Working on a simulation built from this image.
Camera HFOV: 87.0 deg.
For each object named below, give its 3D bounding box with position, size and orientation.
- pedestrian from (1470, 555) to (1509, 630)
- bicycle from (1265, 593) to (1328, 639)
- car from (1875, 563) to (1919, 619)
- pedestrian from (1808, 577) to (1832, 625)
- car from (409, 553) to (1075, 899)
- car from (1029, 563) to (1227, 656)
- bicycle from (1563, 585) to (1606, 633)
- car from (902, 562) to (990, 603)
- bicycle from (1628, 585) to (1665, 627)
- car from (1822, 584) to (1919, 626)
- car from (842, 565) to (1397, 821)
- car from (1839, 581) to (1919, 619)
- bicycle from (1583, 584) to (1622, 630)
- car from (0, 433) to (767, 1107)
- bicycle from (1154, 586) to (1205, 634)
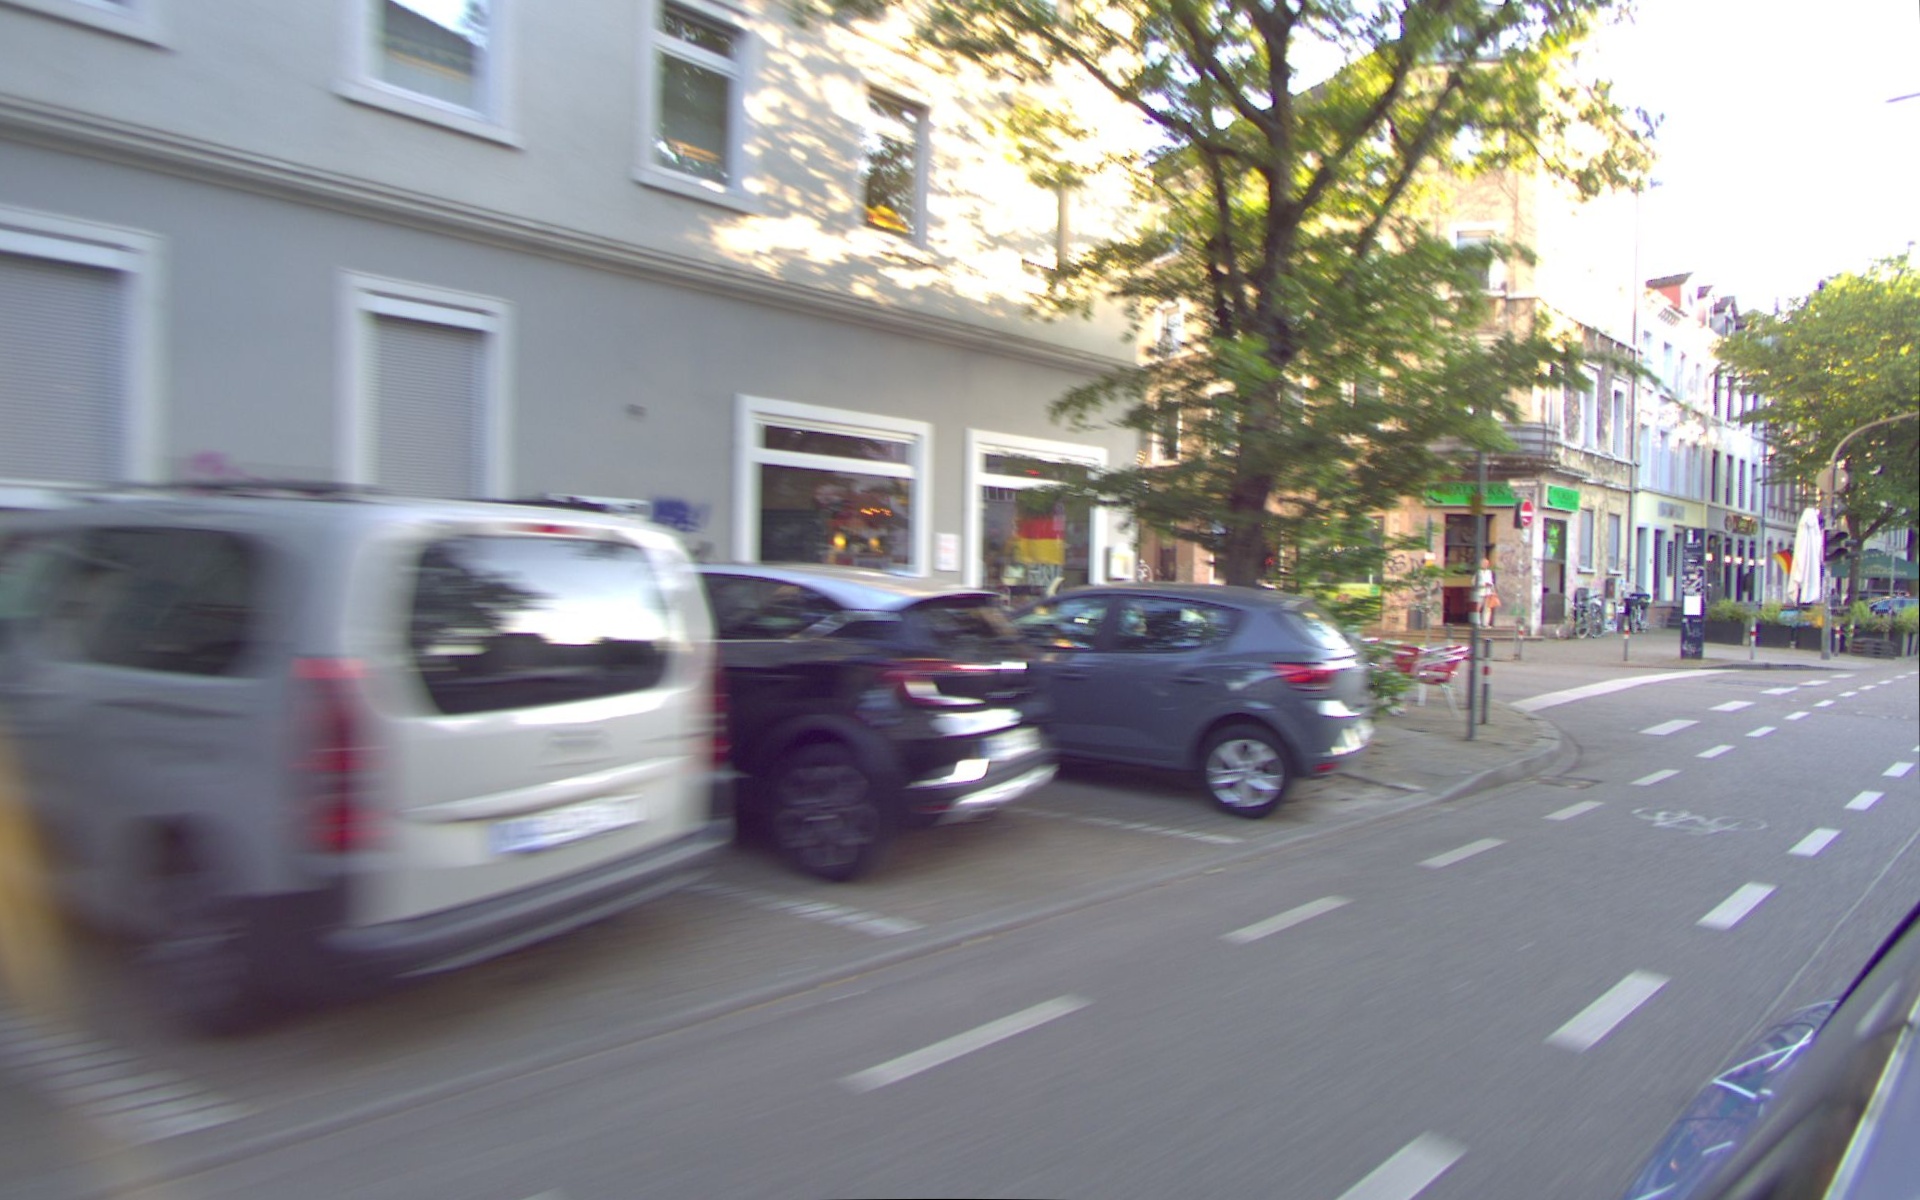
[{"bbox_3d":[13.516,-0.184,25.840,0.600,1.855,0.561,3,0,-4],"label":"pedestrian"},{"bbox_3d":[8.612,0.425,25.846,1.855,1.114,0.659,2,-1,-41],"label":"bicycle"},{"bbox_3d":[47.617,-0.381,48.531,5.197,2.653,1.905,3,2,34],"label":"car"},{"bbox_3d":[32.753,0.030,38.530,0.633,1.774,0.499,0,2,-36],"label":"pedestrian"},{"bbox_3d":[-1.439,0.529,6.353,3.964,1.586,1.703,1,1,29],"label":"car"},{"bbox_3d":[3.622,0.164,22.557,1.870,1.864,4.336,0,1,-35],"label":"car"},{"bbox_3d":[16.269,0.220,26.357,1.558,1.225,0.524,0,1,-41],"label":"bicycle"},{"bbox_3d":[-0.581,-0.690,39.356,1.630,1.462,3.676,3,-1,-35],"label":"car"},{"bbox_3d":[20.775,0.175,30.620,1.752,1.225,0.470,0,1,-41],"label":"bicycle"},{"bbox_3d":[37.395,0.245,40.035,4.586,1.536,1.796,3,1,24],"label":"car"},{"bbox_3d":[1.182,0.523,7.971,3.967,1.559,1.760,1,1,31],"label":"car"},{"bbox_3d":[39.716,0.053,42.394,4.093,1.470,1.788,3,1,35],"label":"car"},{"bbox_3d":[17.631,0.185,27.767,1.558,1.225,0.470,0,1,-41],"label":"bicycle"},{"bbox_3d":[-3.008,0.362,4.512,3.965,1.838,1.806,3,2,29],"label":"car"},{"bbox_3d":[6.182,0.288,28.460,0.508,1.297,1.858,1,-1,43],"label":"bicycle"}]
